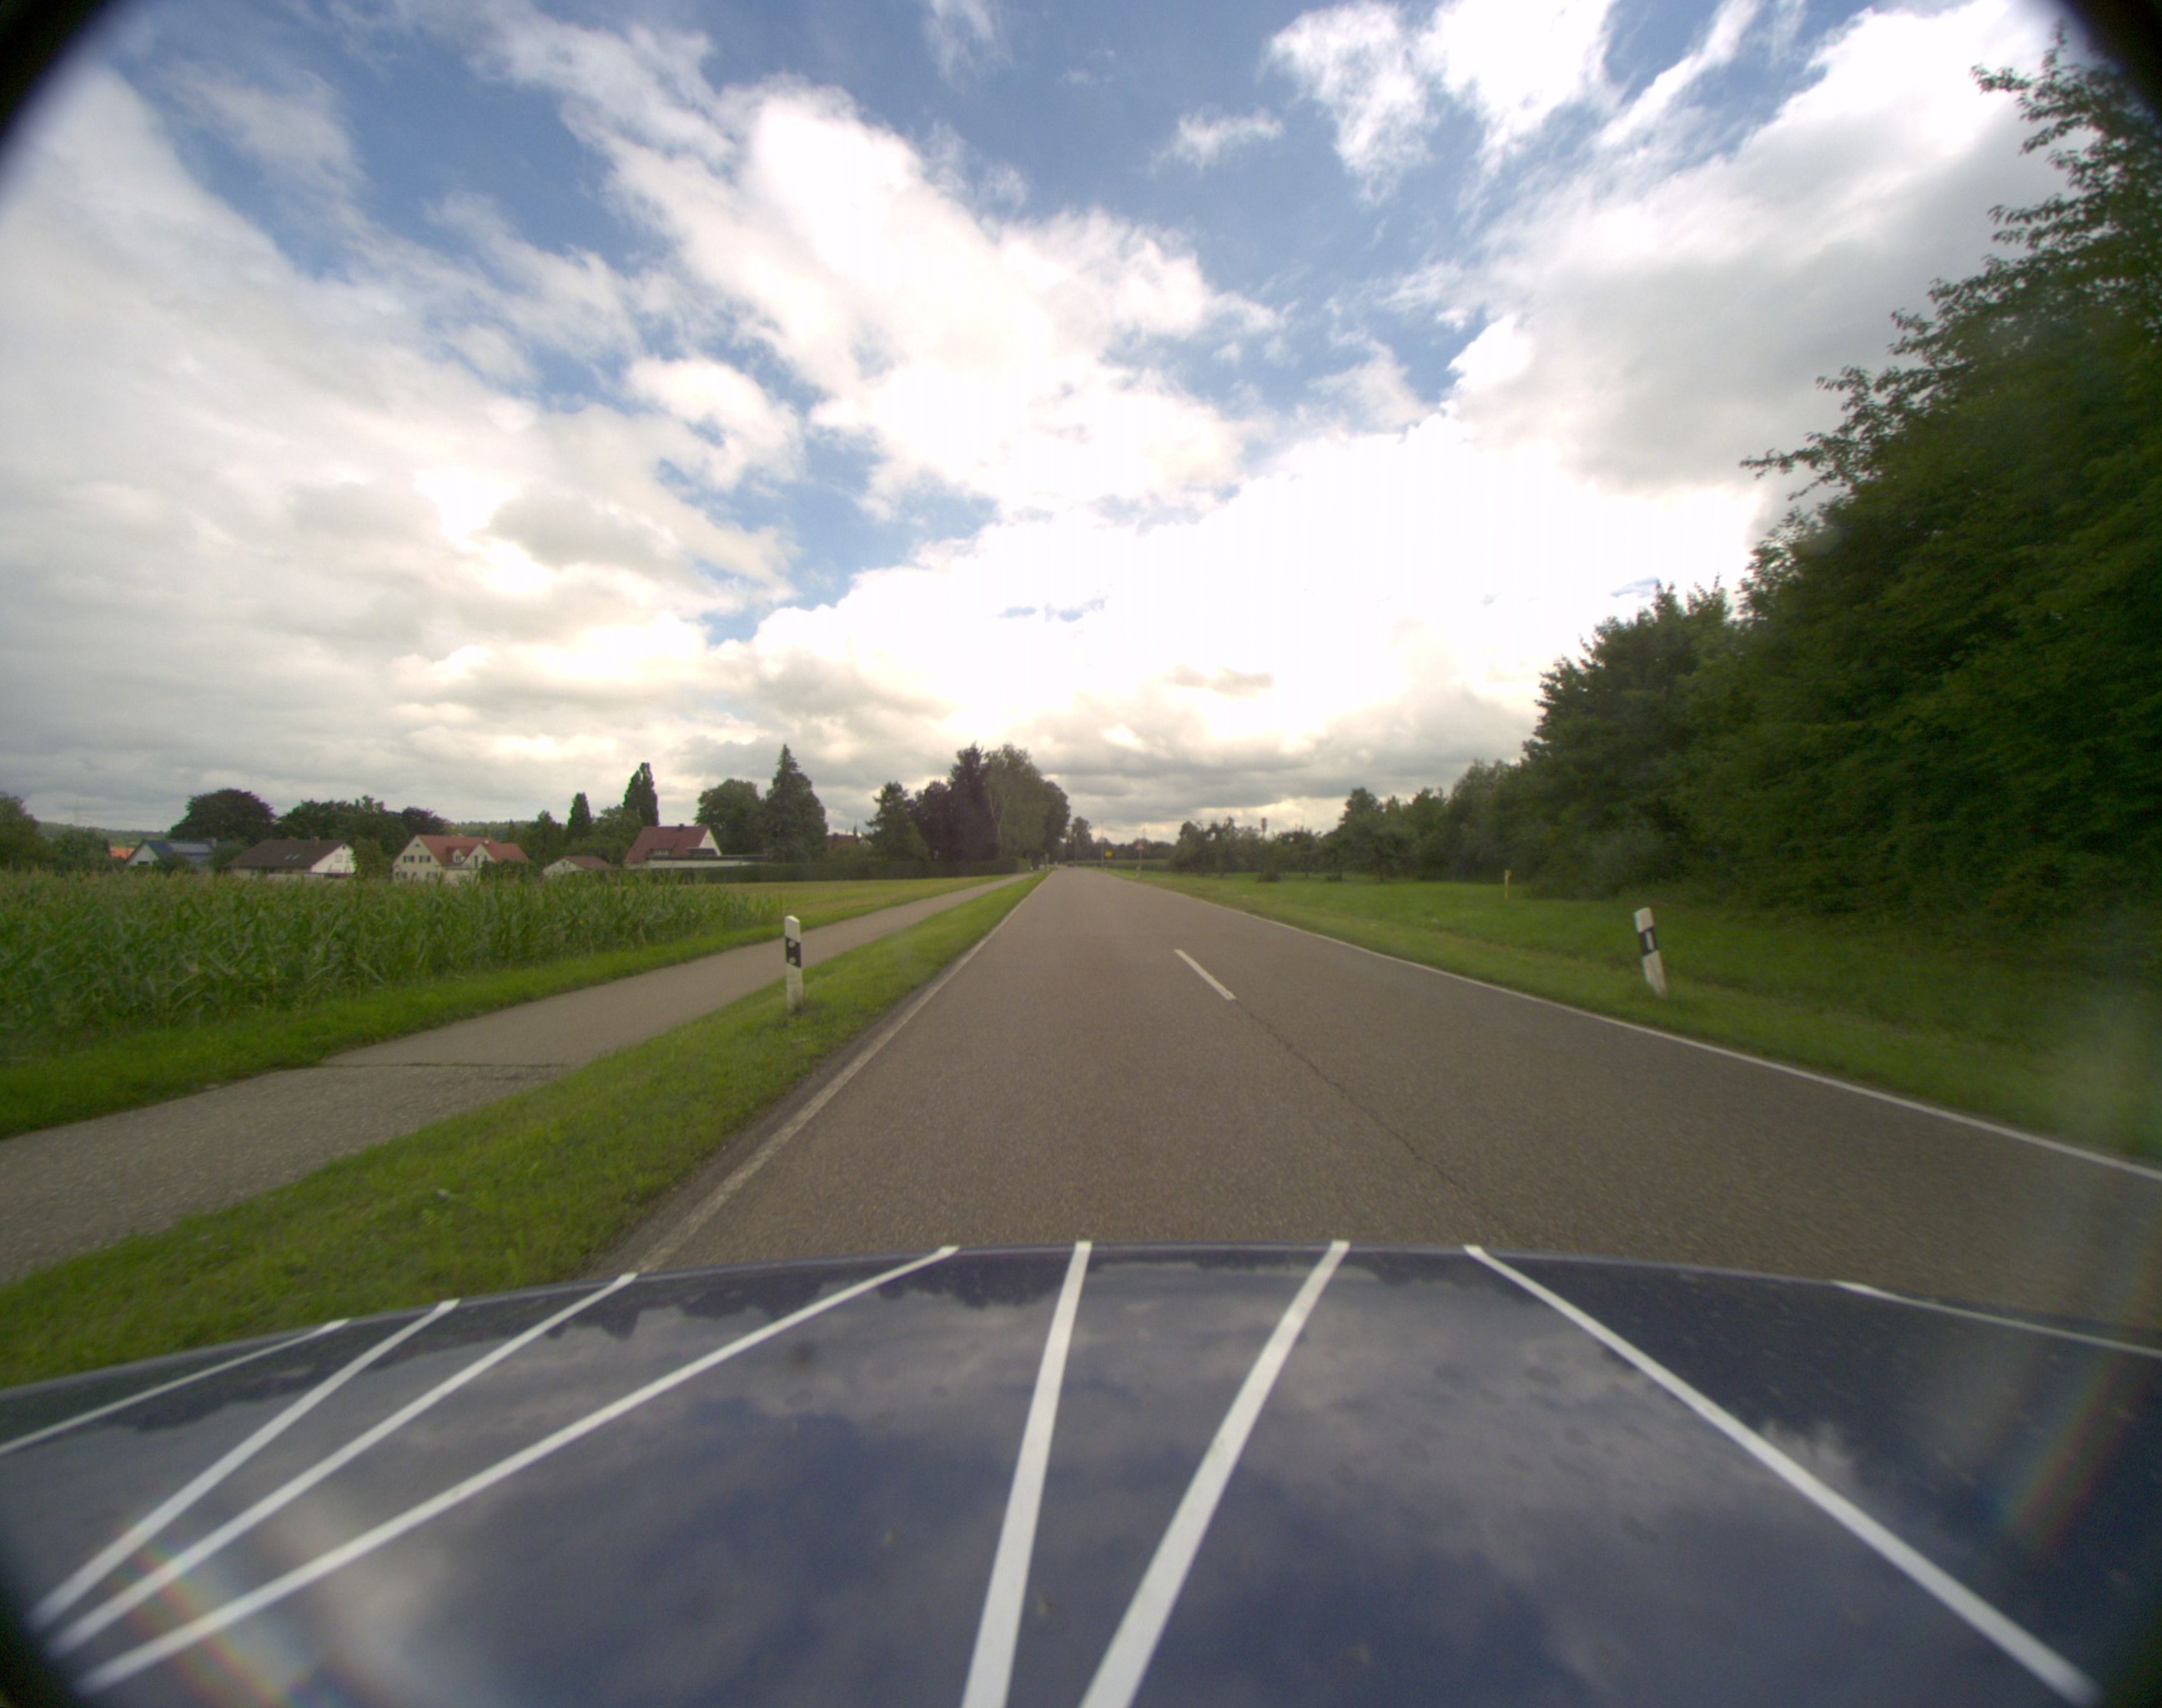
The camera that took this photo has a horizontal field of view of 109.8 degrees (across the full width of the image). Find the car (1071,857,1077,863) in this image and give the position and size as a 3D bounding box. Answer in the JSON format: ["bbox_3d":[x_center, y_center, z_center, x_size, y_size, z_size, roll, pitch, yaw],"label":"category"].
[{"bbox_3d":[-2.105,1.773,226.611,1.869,1.543,4.181,2,0,-1],"label":"car"}]
